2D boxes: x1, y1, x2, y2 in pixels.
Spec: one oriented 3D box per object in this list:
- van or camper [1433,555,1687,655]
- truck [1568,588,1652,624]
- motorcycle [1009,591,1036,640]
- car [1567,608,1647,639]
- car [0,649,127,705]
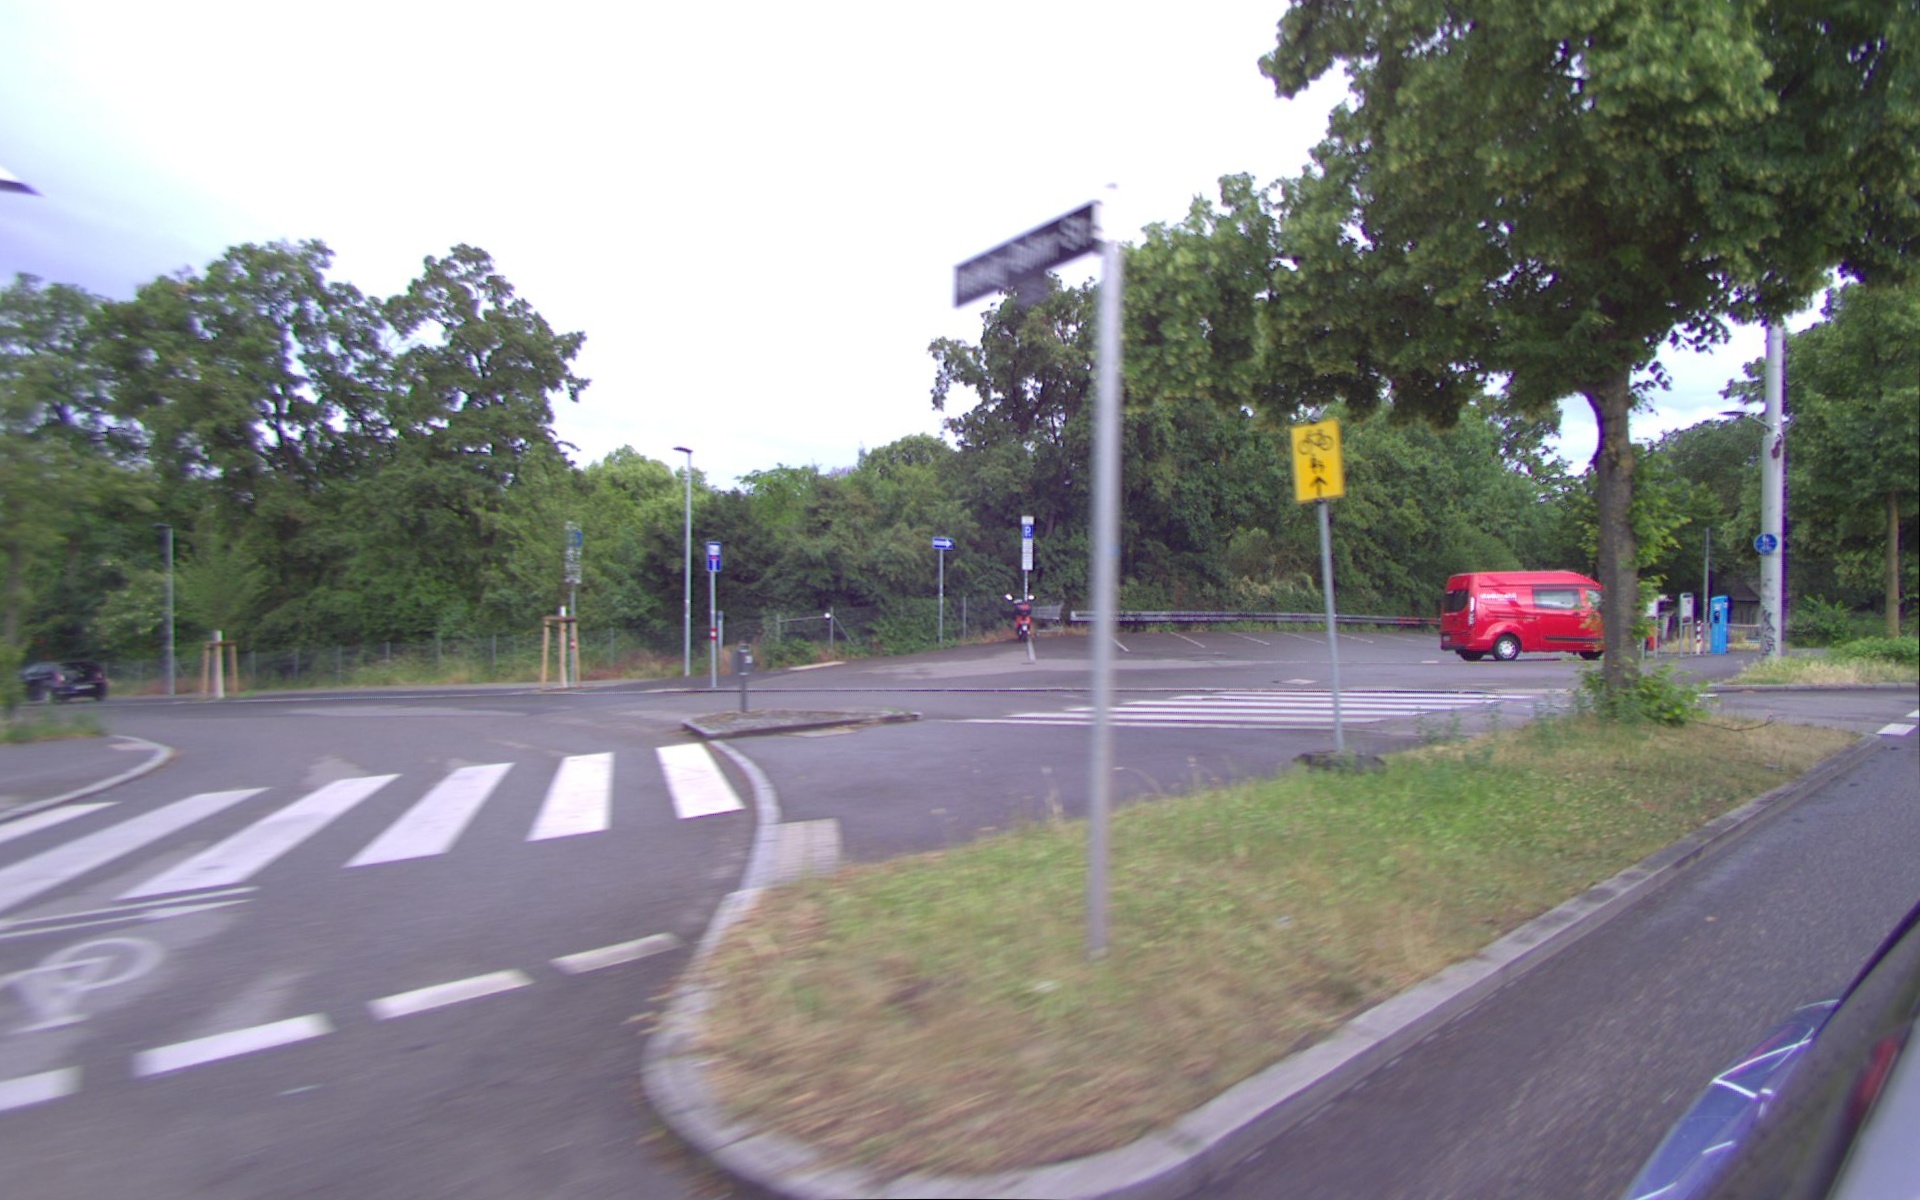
[{"bbox_3d":[15.703,0.168,26.734,5.292,2.438,2.039,-1,-3,2],"label":"van or camper"},{"bbox_3d":[55.314,0.512,86.129,6.466,2.903,2.064,2,0,-14],"label":"truck"},{"bbox_3d":[1.783,0.424,29.077,0.464,1.228,2.027,-3,3,-3],"label":"motorcycle"},{"bbox_3d":[36.966,1.306,58.009,1.966,1.599,4.642,1,0,6],"label":"car"},{"bbox_3d":[-31.495,2.682,35.465,4.040,1.806,1.983,-2,-1,24],"label":"car"}]
